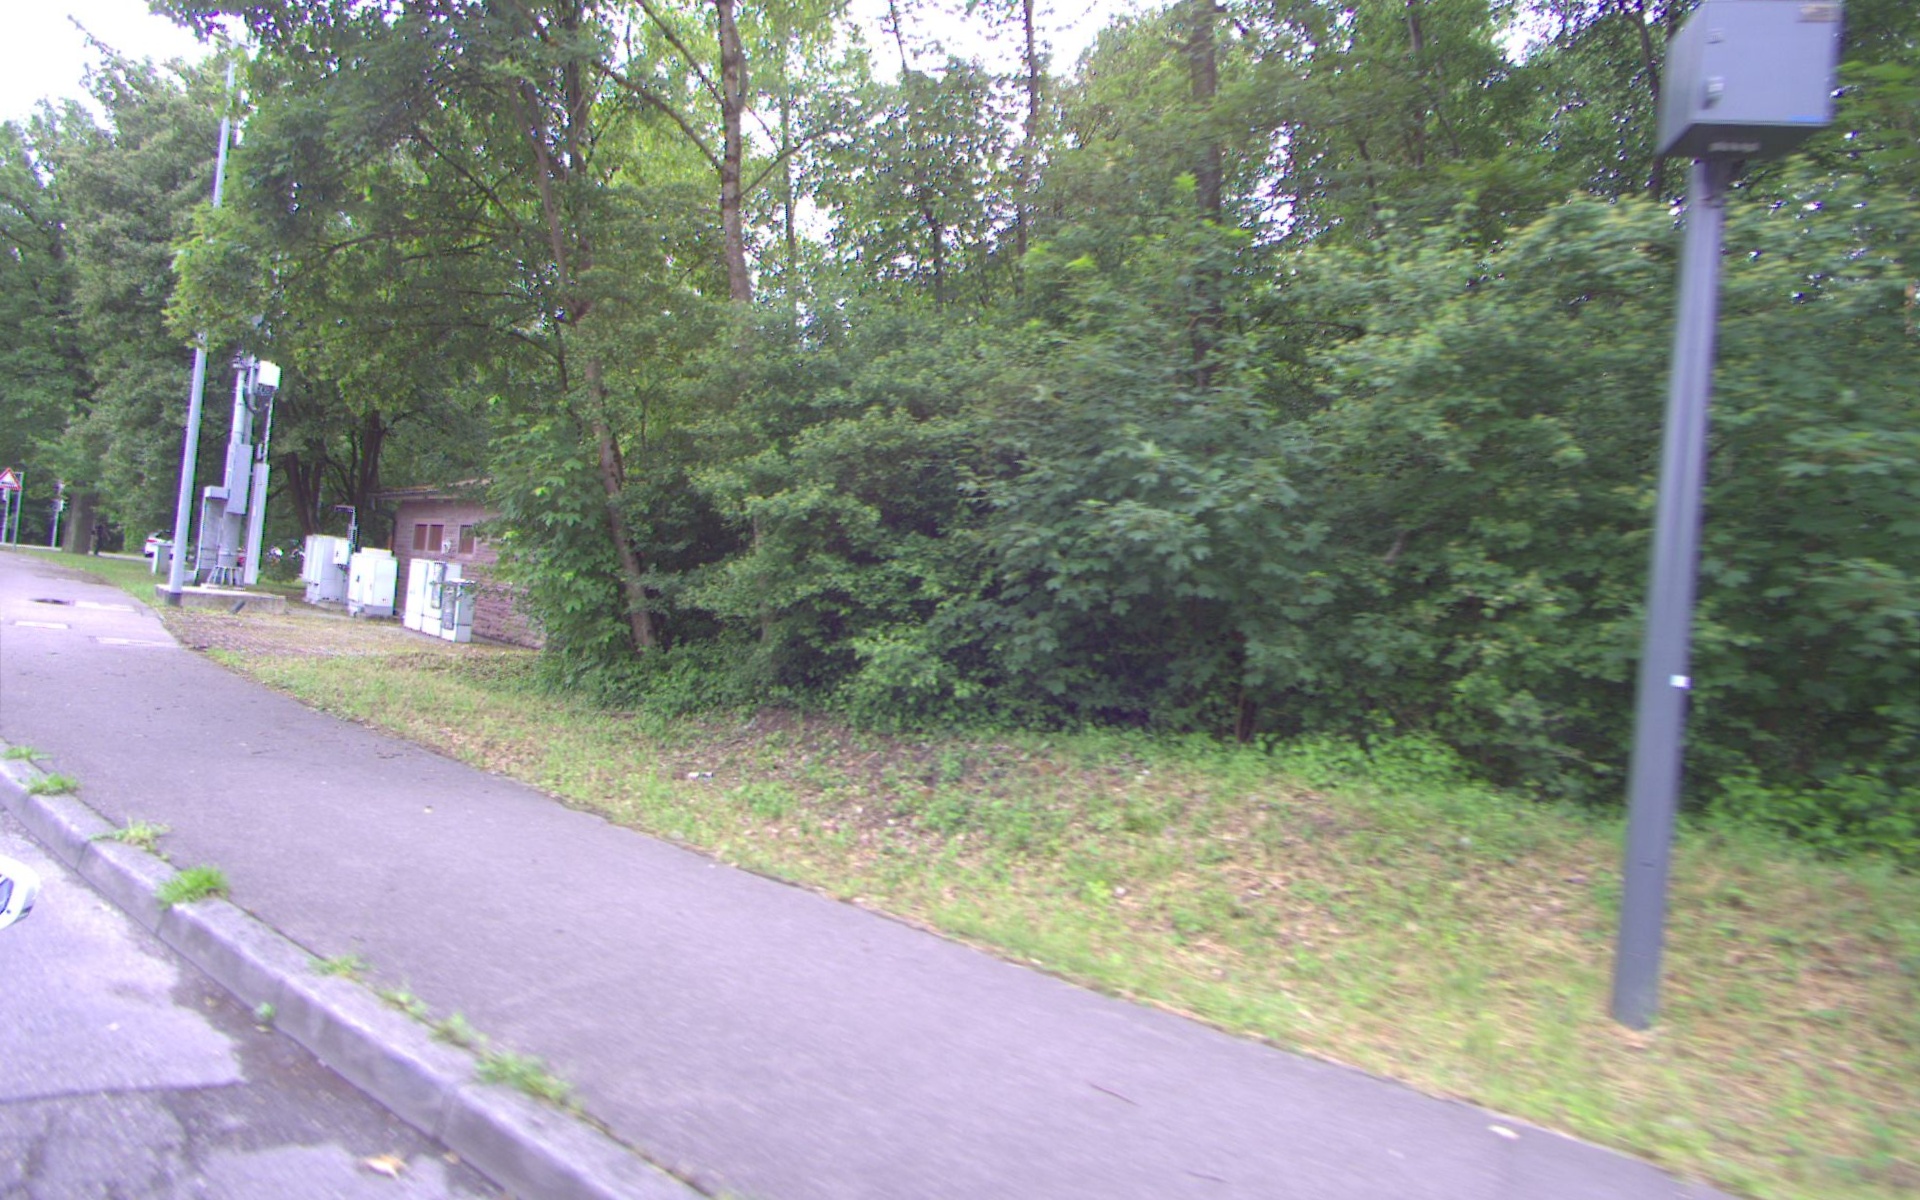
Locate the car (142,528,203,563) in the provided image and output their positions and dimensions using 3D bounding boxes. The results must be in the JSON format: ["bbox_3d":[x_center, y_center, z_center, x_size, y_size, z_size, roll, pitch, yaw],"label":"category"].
[{"bbox_3d":[-42.152,-2.877,53.919,1.819,1.555,3.972,7,-1,-29],"label":"car"}]

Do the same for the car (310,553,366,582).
[{"bbox_3d":[-36.339,-1.895,58.747,3.944,1.342,1.554,5,-1,41],"label":"car"}]

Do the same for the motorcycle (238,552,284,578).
[{"bbox_3d":[-35.907,-1.792,51.697,1.816,1.070,0.609,7,-1,-35],"label":"motorcycle"}]

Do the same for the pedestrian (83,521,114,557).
[{"bbox_3d":[-40.077,-2.821,46.828,0.834,1.524,0.784,6,0,-30],"label":"pedestrian"}]
